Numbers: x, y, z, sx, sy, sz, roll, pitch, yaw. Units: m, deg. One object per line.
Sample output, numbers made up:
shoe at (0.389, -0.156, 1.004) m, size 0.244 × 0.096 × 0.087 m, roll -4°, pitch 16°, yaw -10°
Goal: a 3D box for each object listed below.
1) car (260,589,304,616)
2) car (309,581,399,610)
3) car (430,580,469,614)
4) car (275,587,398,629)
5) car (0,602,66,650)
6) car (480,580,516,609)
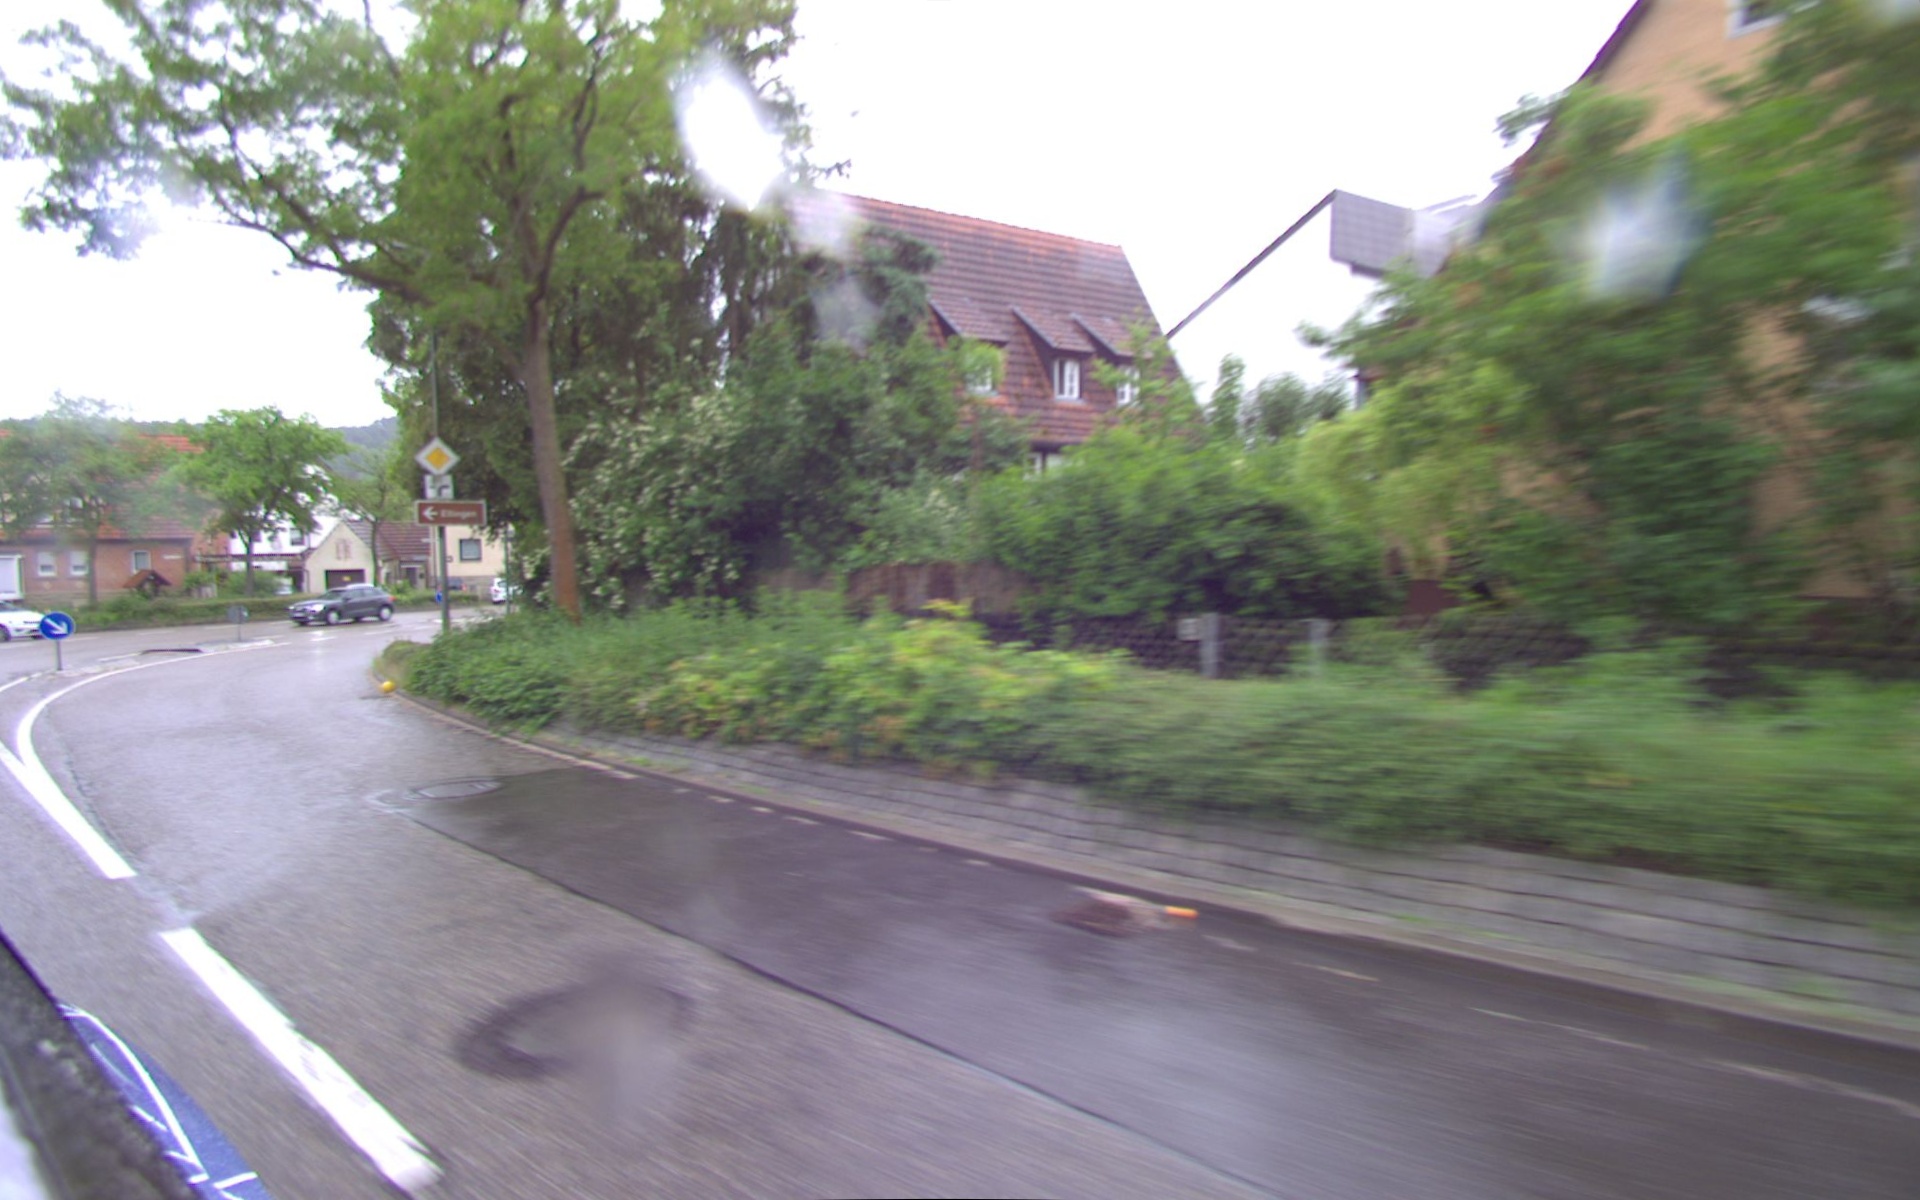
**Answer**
car at (-42.050, 0.104, 62.835) m, size 1.574 × 1.507 × 4.013 m, roll -3°, pitch 2°, yaw -25°
car at (-34.878, -0.279, 58.334) m, size 4.192 × 1.449 × 1.915 m, roll -3°, pitch 4°, yaw -24°
car at (-29.967, -0.228, 59.320) m, size 1.719 × 1.594 × 4.013 m, roll -4°, pitch 6°, yaw -30°
car at (-26.261, 0.326, 42.766) m, size 1.987 × 1.541 × 3.971 m, roll -1°, pitch 2°, yaw 22°
car at (-34.499, 0.945, 35.792) m, size 4.089 × 1.547 × 1.759 m, roll -2°, pitch 3°, yaw -2°
car at (-27.475, -0.364, 60.159) m, size 1.689 × 1.540 × 3.443 m, roll -3°, pitch 3°, yaw -28°
